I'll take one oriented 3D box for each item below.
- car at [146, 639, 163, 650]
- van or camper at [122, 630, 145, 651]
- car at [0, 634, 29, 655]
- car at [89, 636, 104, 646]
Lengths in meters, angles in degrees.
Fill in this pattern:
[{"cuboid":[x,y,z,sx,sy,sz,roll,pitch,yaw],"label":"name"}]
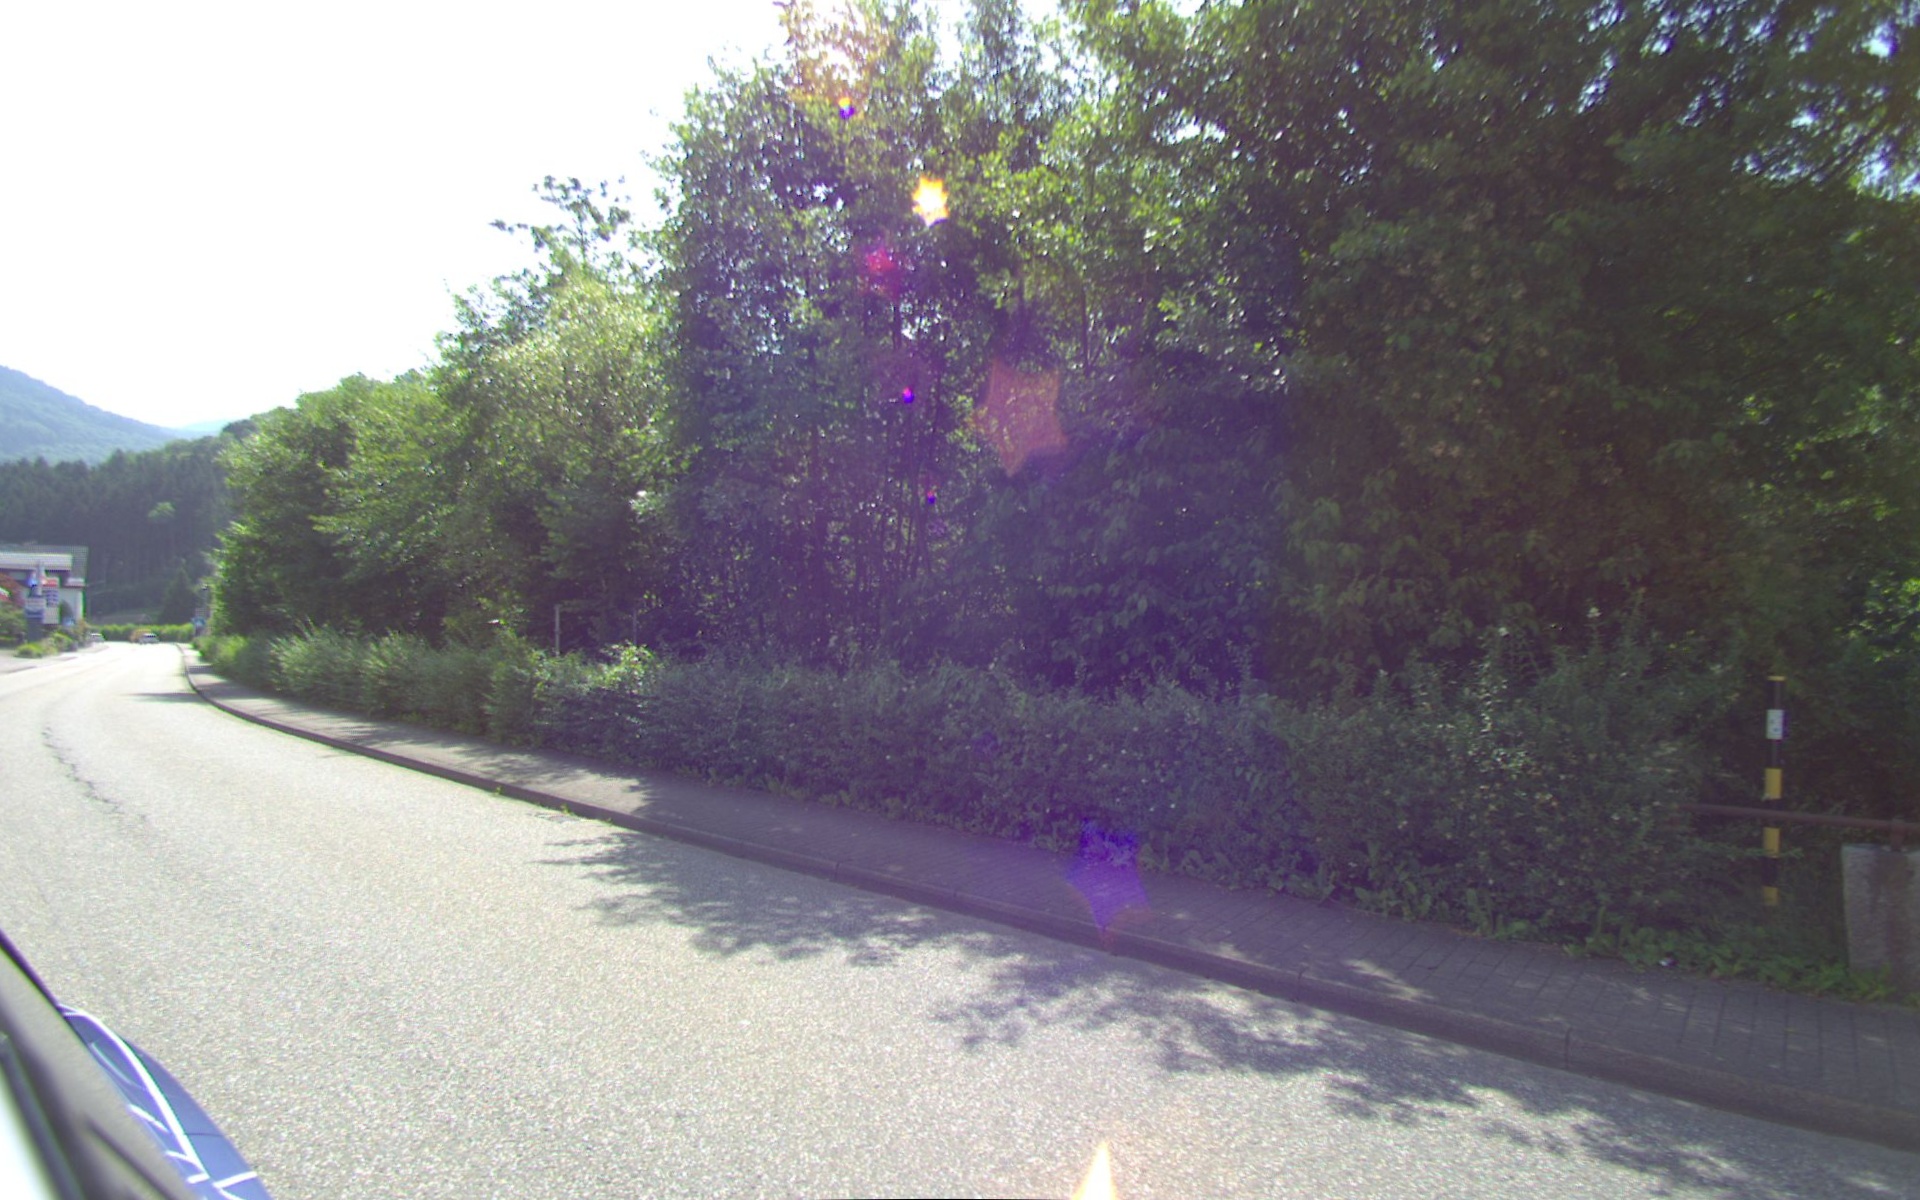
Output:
[{"cuboid":[-113.324,6.315,142.384,1.569,1.494,3.765,3,-4,-36],"label":"car"},{"cuboid":[-125.305,6.147,153.459,2.327,2.976,8.067,3,-4,-37],"label":"van or camper"},{"cuboid":[-78.852,3.684,84.135,1.670,1.589,3.920,6,-5,-37],"label":"car"},{"cuboid":[-133.390,6.360,156.333,1.584,1.416,3.835,5,-4,-38],"label":"car"}]
